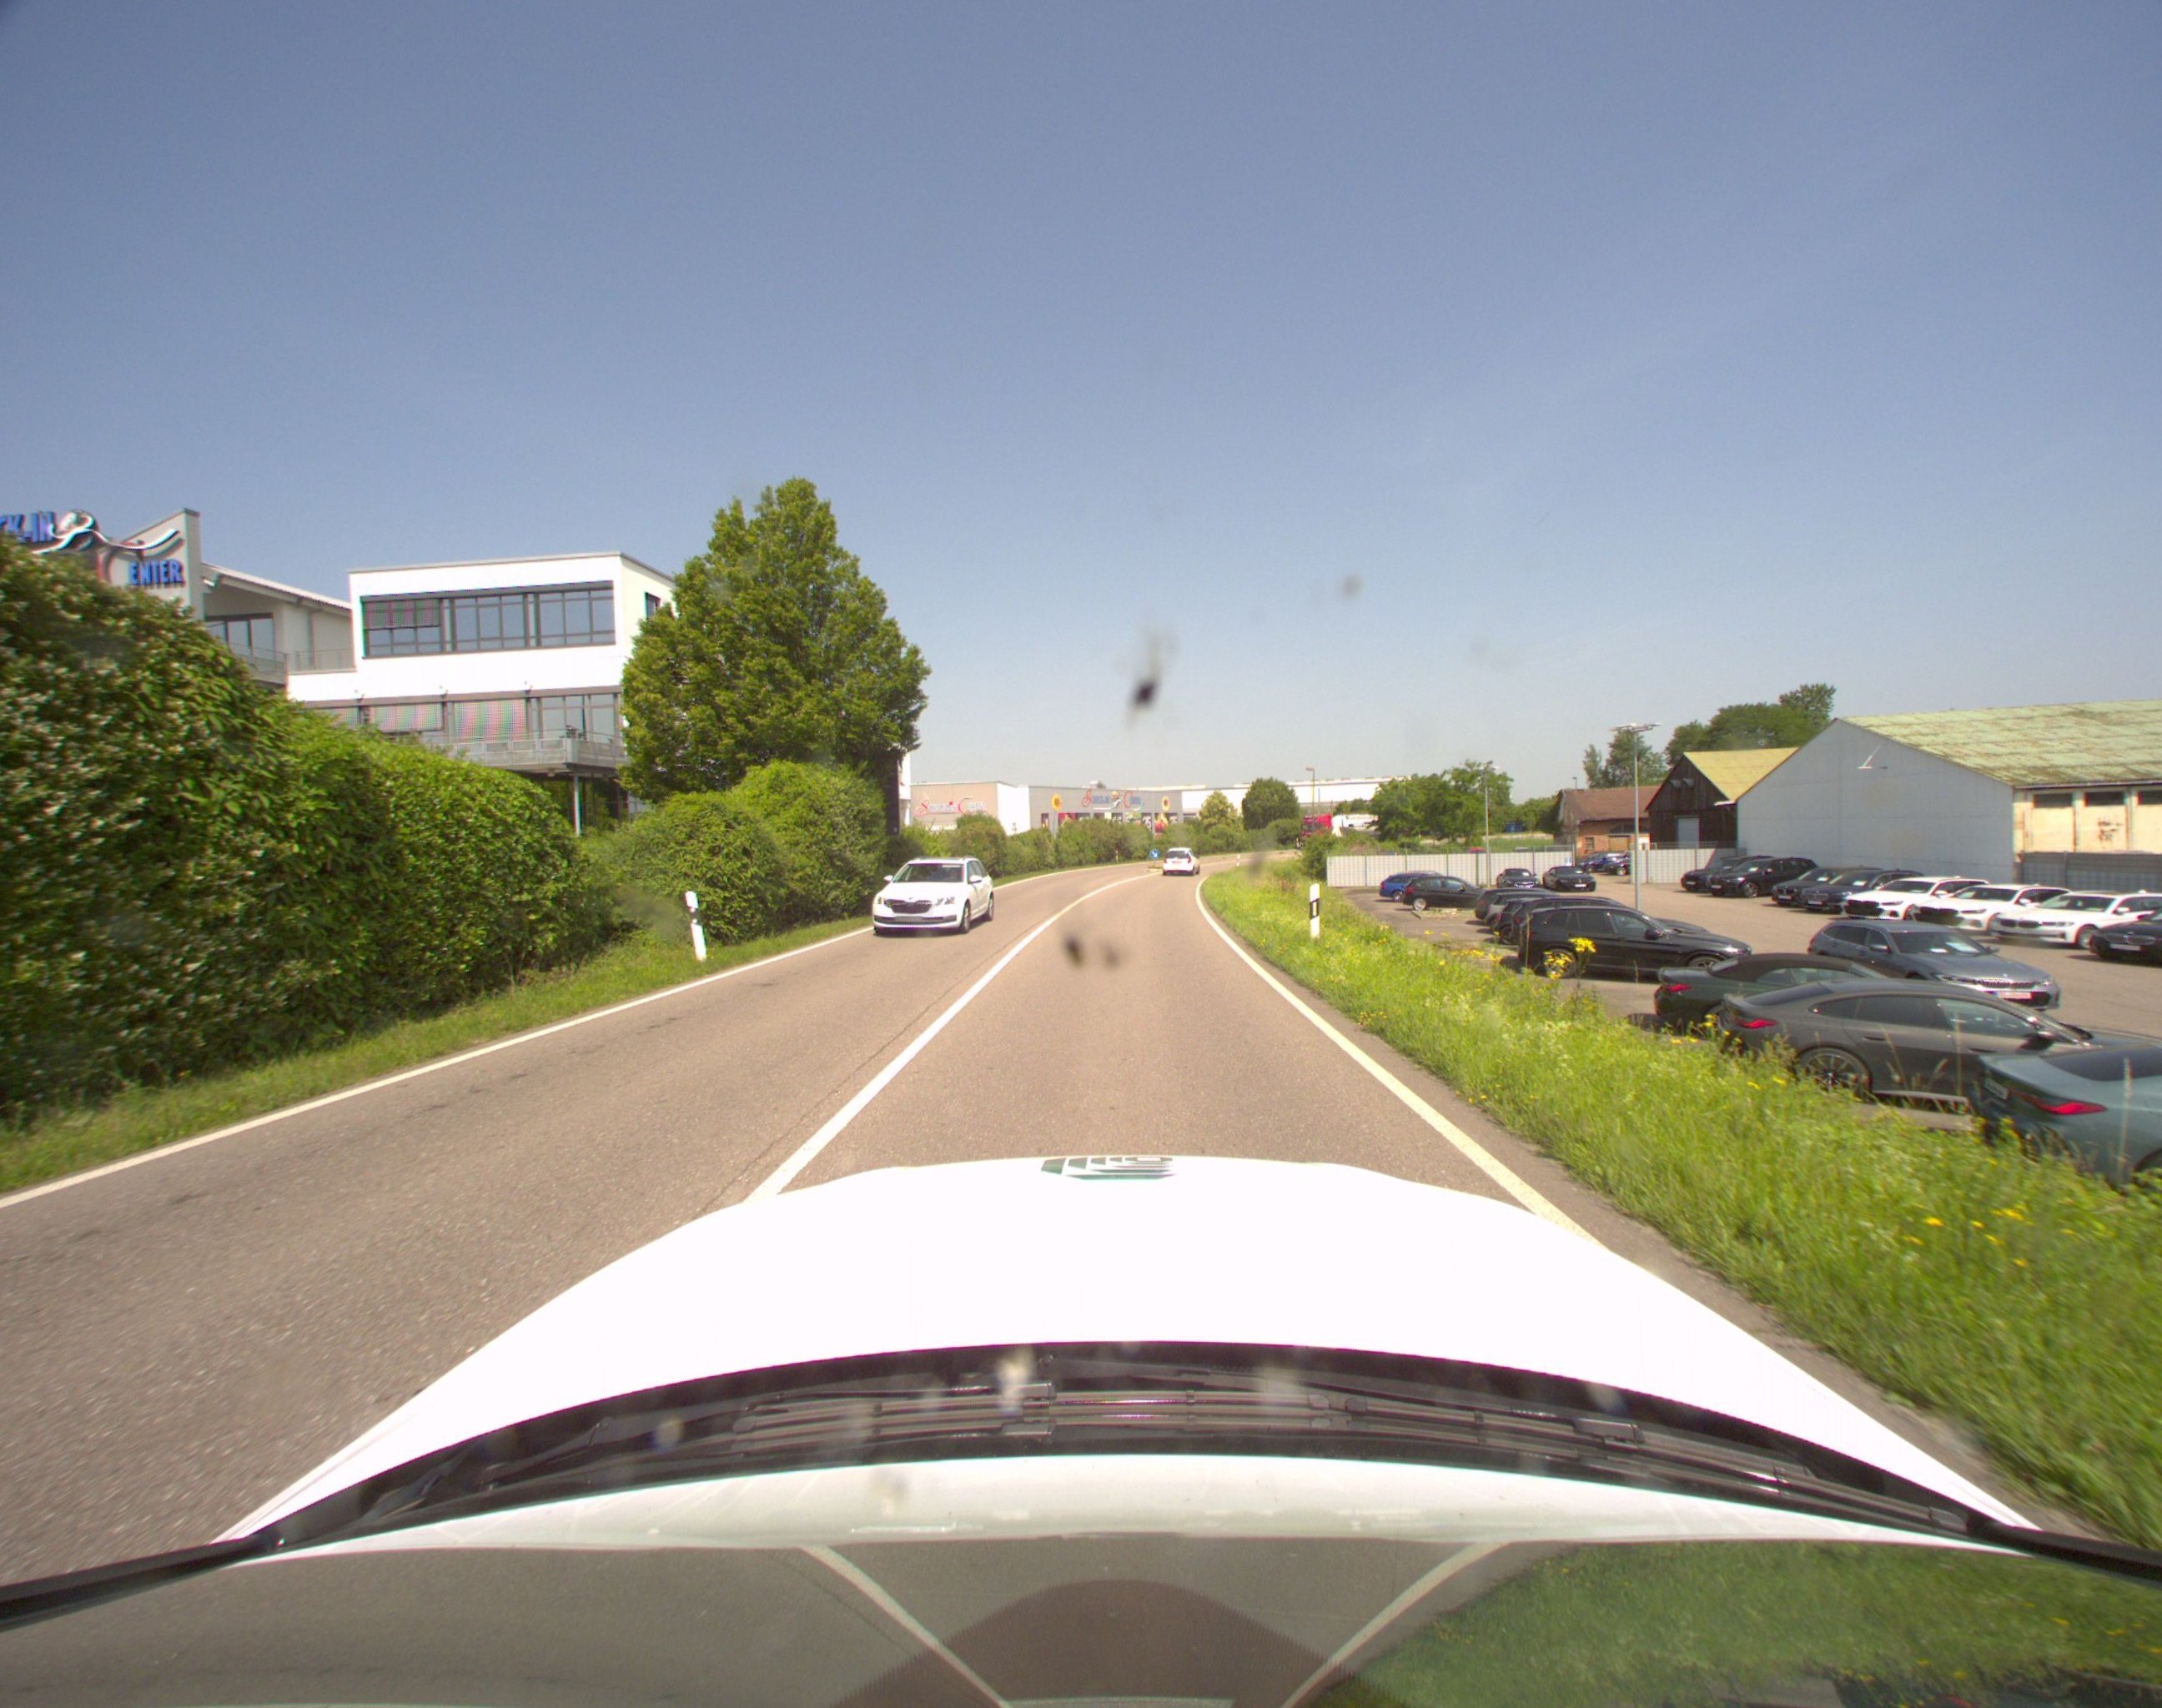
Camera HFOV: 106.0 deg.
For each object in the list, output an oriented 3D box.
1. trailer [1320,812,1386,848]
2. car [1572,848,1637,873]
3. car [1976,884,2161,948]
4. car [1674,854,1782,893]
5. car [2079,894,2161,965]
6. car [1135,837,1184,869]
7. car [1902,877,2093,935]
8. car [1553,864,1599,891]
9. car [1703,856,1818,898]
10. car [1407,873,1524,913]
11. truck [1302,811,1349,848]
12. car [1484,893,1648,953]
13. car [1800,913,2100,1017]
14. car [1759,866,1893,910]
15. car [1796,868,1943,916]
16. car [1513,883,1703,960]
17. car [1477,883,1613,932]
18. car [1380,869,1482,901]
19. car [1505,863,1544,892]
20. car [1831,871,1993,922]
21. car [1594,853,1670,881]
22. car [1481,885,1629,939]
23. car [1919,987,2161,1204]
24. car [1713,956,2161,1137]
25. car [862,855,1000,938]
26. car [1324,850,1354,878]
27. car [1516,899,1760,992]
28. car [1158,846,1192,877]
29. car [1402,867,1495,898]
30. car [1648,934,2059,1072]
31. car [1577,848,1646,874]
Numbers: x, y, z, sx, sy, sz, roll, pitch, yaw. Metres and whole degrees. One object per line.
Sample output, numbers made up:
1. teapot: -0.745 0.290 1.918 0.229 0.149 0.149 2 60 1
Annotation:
1. trailer: 31.846 -2.768 95.028 8.735 4.030 2.856 0 0 -37
2. car: 38.008 0.447 59.171 3.706 1.750 1.682 0 0 21
3. car: 28.383 1.700 22.888 4.637 1.523 1.909 -1 0 -5
4. car: 33.265 0.975 41.940 4.323 1.804 1.993 -1 1 -10
5. car: 27.027 1.779 19.650 3.990 1.523 1.756 -1 0 -5
6. car: 5.229 -0.064 53.969 1.975 2.013 4.023 0 0 25
7. car: 28.926 1.604 25.764 4.598 1.523 1.906 -1 1 -10
8. car: 28.127 1.296 46.379 1.975 1.398 4.024 0 0 27
9. car: 32.390 1.073 38.851 4.323 1.804 1.906 -1 1 -10
10. car: 17.165 1.687 36.393 4.584 1.605 1.868 -1 1 30
11. truck: 27.584 -2.694 91.668 2.853 4.030 6.764 -1 0 37
12. car: 14.845 2.037 25.009 4.097 1.442 1.787 0 2 39
13. car: 17.304 2.111 16.639 2.119 1.457 4.550 0 0 15
14. car: 31.139 1.402 34.073 4.323 1.576 1.906 -1 1 -10
15. car: 30.317 1.426 31.374 4.323 1.576 1.906 -1 1 -10
16. car: 14.393 1.756 22.336 4.181 1.700 1.931 0 2 39
17. car: 16.895 1.891 29.751 3.985 1.442 1.785 0 3 43
18. car: 18.196 1.575 42.401 4.583 1.498 1.869 0 2 33
19. car: 25.732 1.314 47.378 1.833 1.534 4.671 0 0 27
20. car: 29.325 1.450 28.783 4.323 1.523 1.906 -1 1 -10
21. car: 35.467 0.814 52.499 3.707 1.750 1.682 0 0 19
22. car: 16.019 1.909 27.603 4.097 1.493 1.843 0 1 39
23. car: 10.739 2.255 7.320 4.119 1.523 1.868 0 0 30
24. car: 10.719 2.275 10.281 4.119 1.523 1.868 0 0 30
25. car: -2.928 0.773 16.863 1.821 1.470 4.413 0 0 3
26. car: 19.444 0.740 61.478 1.979 2.013 4.017 0 0 15
27. car: 13.040 2.058 19.330 4.583 1.700 1.869 0 2 35
28. car: 5.421 0.382 47.556 1.773 1.603 3.899 4 1 5
29. car: 20.320 1.518 45.151 1.853 1.502 4.319 -2 2 -45
30. car: 12.081 2.263 13.270 4.583 1.523 1.868 0 0 33
31. car: 36.730 0.508 56.454 3.706 1.750 1.682 0 0 21
